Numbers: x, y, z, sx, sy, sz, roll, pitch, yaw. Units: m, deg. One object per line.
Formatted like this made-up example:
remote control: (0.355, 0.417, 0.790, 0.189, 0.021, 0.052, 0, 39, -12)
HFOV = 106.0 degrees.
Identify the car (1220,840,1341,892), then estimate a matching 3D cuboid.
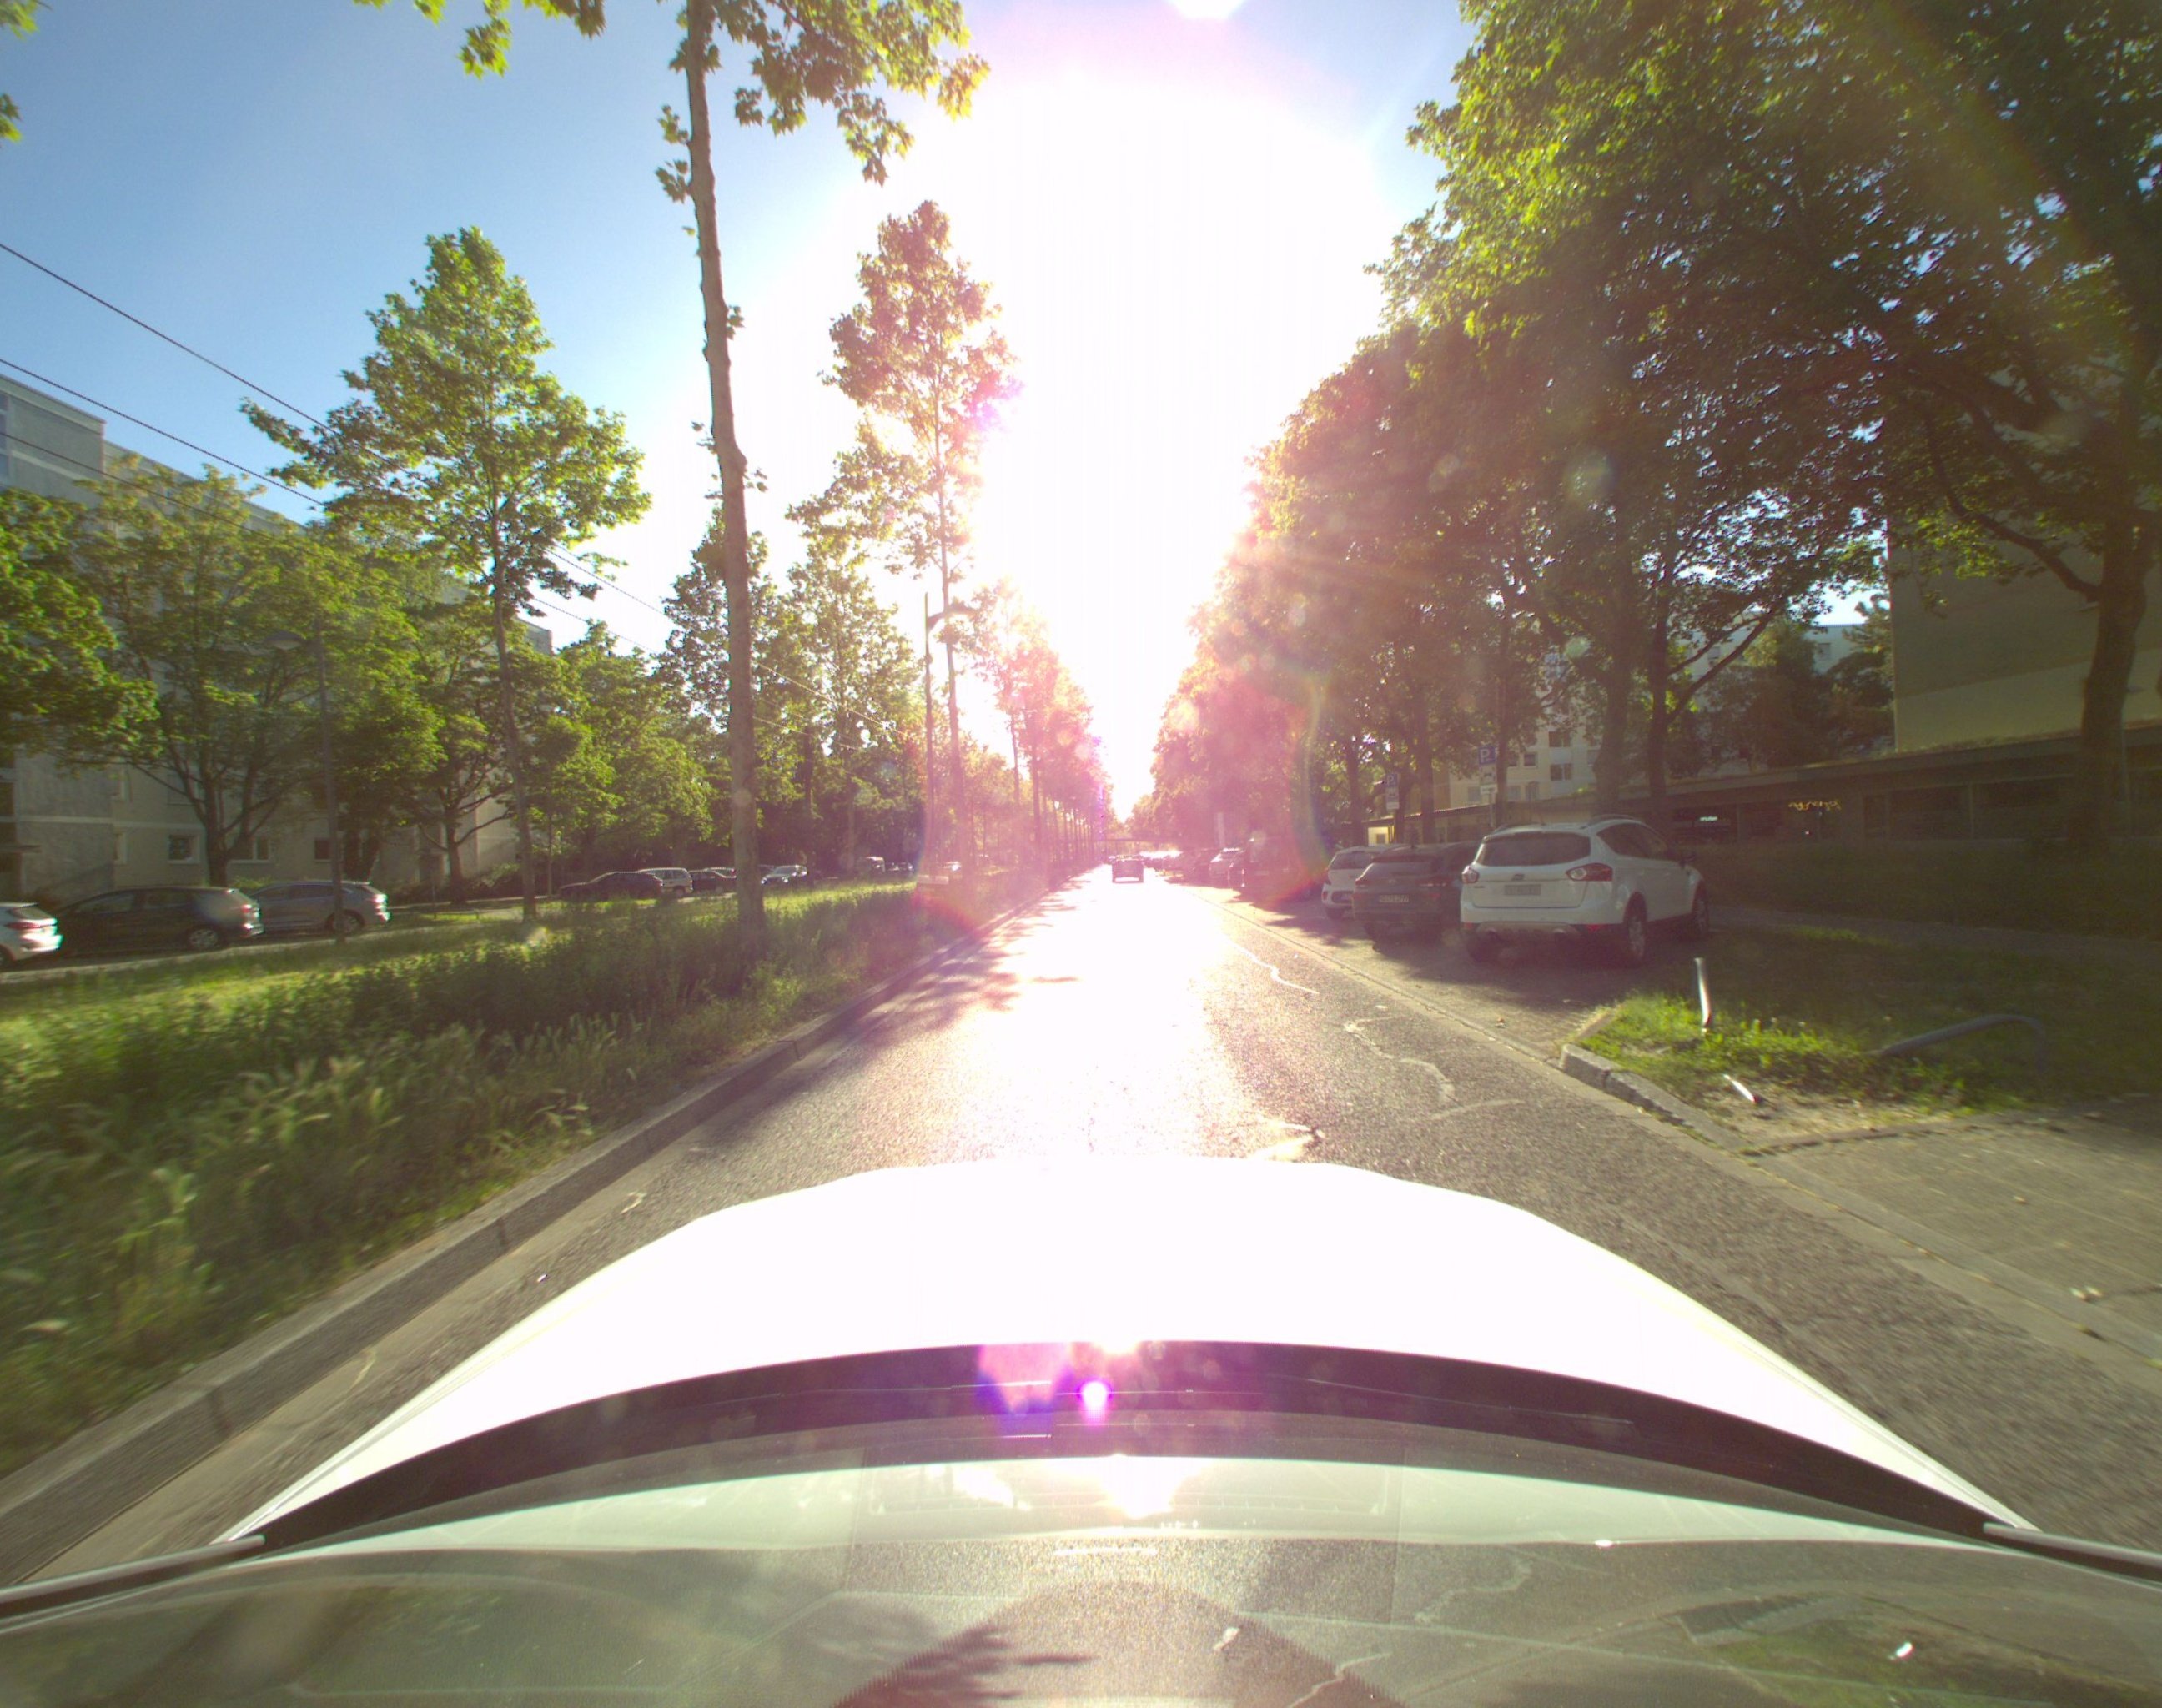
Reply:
car: (6.847, 0.384, 27.801, 4.102, 1.481, 1.633, -3, 0, -34)

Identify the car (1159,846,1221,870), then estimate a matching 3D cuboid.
car: (7.878, 0.287, 58.581, 4.519, 1.443, 1.834, -3, 0, -42)

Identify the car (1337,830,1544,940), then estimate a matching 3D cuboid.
car: (6.018, 0.438, 13.436, 3.808, 1.470, 1.631, -3, 0, -42)

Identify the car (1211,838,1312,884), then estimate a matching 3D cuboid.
car: (7.220, 0.257, 32.405, 4.107, 1.582, 1.760, -3, 0, -41)

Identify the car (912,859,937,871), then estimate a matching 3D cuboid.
car: (-18.627, 1.289, 97.114, 1.985, 1.453, 4.004, 1, 0, 4)

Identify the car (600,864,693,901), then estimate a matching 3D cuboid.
car: (-22.944, 1.487, 43.089, 4.000, 1.675, 1.766, -2, 0, -41)

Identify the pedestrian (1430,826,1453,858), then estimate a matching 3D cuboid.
pedestrian: (21.787, -0.726, 49.263, 0.871, 1.914, 0.869, -2, 0, -7)

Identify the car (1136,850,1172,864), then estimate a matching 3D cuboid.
car: (9.237, 0.353, 102.777, 4.649, 1.680, 1.835, -1, 0, -41)

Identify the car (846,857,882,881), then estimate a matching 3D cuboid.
car: (-19.843, 1.305, 74.637, 1.638, 2.093, 4.920, 1, 0, 4)

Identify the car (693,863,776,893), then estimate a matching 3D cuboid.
car: (-22.308, 1.554, 52.537, 4.511, 1.675, 1.774, -2, 0, -41)

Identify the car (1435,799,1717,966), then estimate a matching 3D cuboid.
car: (6.379, 0.240, 10.323, 4.049, 1.705, 1.740, -3, 0, -39)

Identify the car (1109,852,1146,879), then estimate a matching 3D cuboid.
car: (2.594, 0.611, 45.582, 1.914, 1.411, 4.003, -1, 0, 3)

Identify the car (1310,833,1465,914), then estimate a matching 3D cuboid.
car: (6.562, 0.361, 17.265, 3.649, 1.448, 1.631, -3, 0, -45)

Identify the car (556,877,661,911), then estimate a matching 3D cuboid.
car: (-22.876, 1.882, 39.517, 4.154, 1.337, 1.774, -2, 1, -41)

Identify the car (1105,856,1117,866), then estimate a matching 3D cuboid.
car: (4.970, 1.127, 134.877, 1.842, 1.535, 3.869, -2, 0, 2)

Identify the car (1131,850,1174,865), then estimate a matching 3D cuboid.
car: (7.725, 0.360, 87.508, 4.651, 1.459, 1.955, -2, 0, -44)

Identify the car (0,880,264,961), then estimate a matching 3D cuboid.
car: (-22.983, 1.541, 19.746, 4.100, 1.530, 1.800, -3, 2, -32)

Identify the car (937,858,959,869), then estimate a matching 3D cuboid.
car: (-17.743, 1.233, 109.033, 1.985, 1.453, 4.004, 1, 0, 4)

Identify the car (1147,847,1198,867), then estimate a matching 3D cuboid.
car: (7.776, 0.214, 69.031, 4.353, 1.424, 1.834, -3, 0, -42)

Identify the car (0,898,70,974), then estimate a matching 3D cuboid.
car: (-23.497, 1.690, 16.098, 4.099, 1.432, 1.563, 0, 0, -32)

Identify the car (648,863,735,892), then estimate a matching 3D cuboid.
car: (-23.472, 1.405, 49.135, 4.505, 1.481, 1.600, -2, 0, -35)

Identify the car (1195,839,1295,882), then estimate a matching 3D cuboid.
car: (7.138, 0.286, 35.277, 4.101, 1.582, 1.763, -3, 0, -33)

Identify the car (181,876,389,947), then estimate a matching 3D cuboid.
car: (-22.964, 1.587, 23.762, 4.106, 1.607, 1.972, -3, 2, -39)

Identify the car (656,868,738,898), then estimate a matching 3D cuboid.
car: (-22.193, 1.672, 47.172, 3.942, 1.487, 1.774, -2, 0, -41)

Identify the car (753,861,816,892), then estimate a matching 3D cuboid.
car: (-16.768, 1.252, 46.231, 1.917, 1.506, 4.085, -5, 0, 1)

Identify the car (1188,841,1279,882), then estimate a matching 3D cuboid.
car: (7.163, 0.335, 38.050, 4.341, 1.717, 1.617, -2, 0, -37)

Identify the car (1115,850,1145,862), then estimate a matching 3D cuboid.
car: (7.552, 0.331, 126.442, 4.649, 1.768, 1.835, -1, 0, -41)

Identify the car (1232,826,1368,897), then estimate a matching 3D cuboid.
car: (6.472, 0.192, 23.893, 4.105, 1.811, 1.632, -3, 0, -38)
